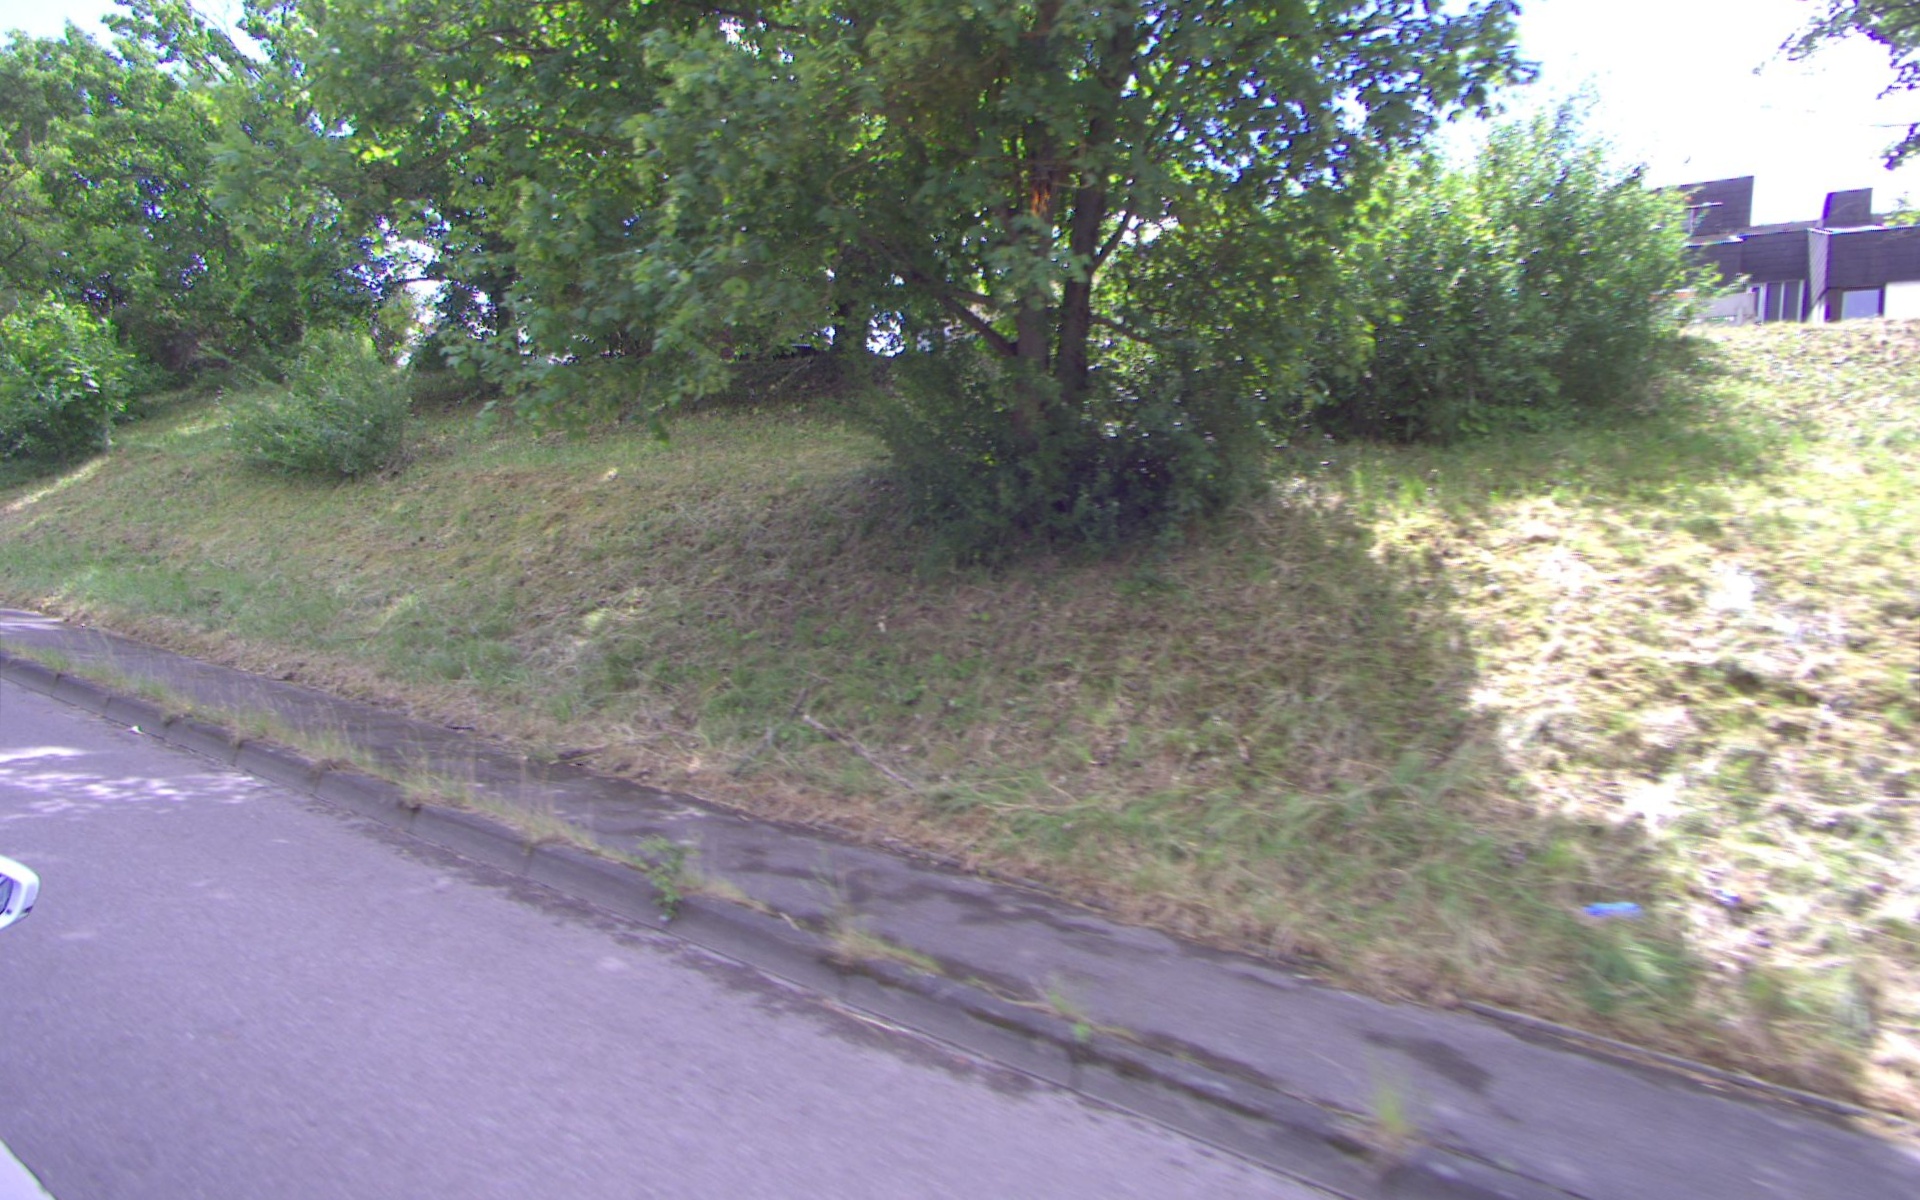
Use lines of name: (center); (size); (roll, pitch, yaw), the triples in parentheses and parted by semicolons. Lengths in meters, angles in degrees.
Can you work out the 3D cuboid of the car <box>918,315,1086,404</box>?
car: (0.909, -5.255, 22.230); (3.276, 1.459, 1.453); (6, -2, 30)
